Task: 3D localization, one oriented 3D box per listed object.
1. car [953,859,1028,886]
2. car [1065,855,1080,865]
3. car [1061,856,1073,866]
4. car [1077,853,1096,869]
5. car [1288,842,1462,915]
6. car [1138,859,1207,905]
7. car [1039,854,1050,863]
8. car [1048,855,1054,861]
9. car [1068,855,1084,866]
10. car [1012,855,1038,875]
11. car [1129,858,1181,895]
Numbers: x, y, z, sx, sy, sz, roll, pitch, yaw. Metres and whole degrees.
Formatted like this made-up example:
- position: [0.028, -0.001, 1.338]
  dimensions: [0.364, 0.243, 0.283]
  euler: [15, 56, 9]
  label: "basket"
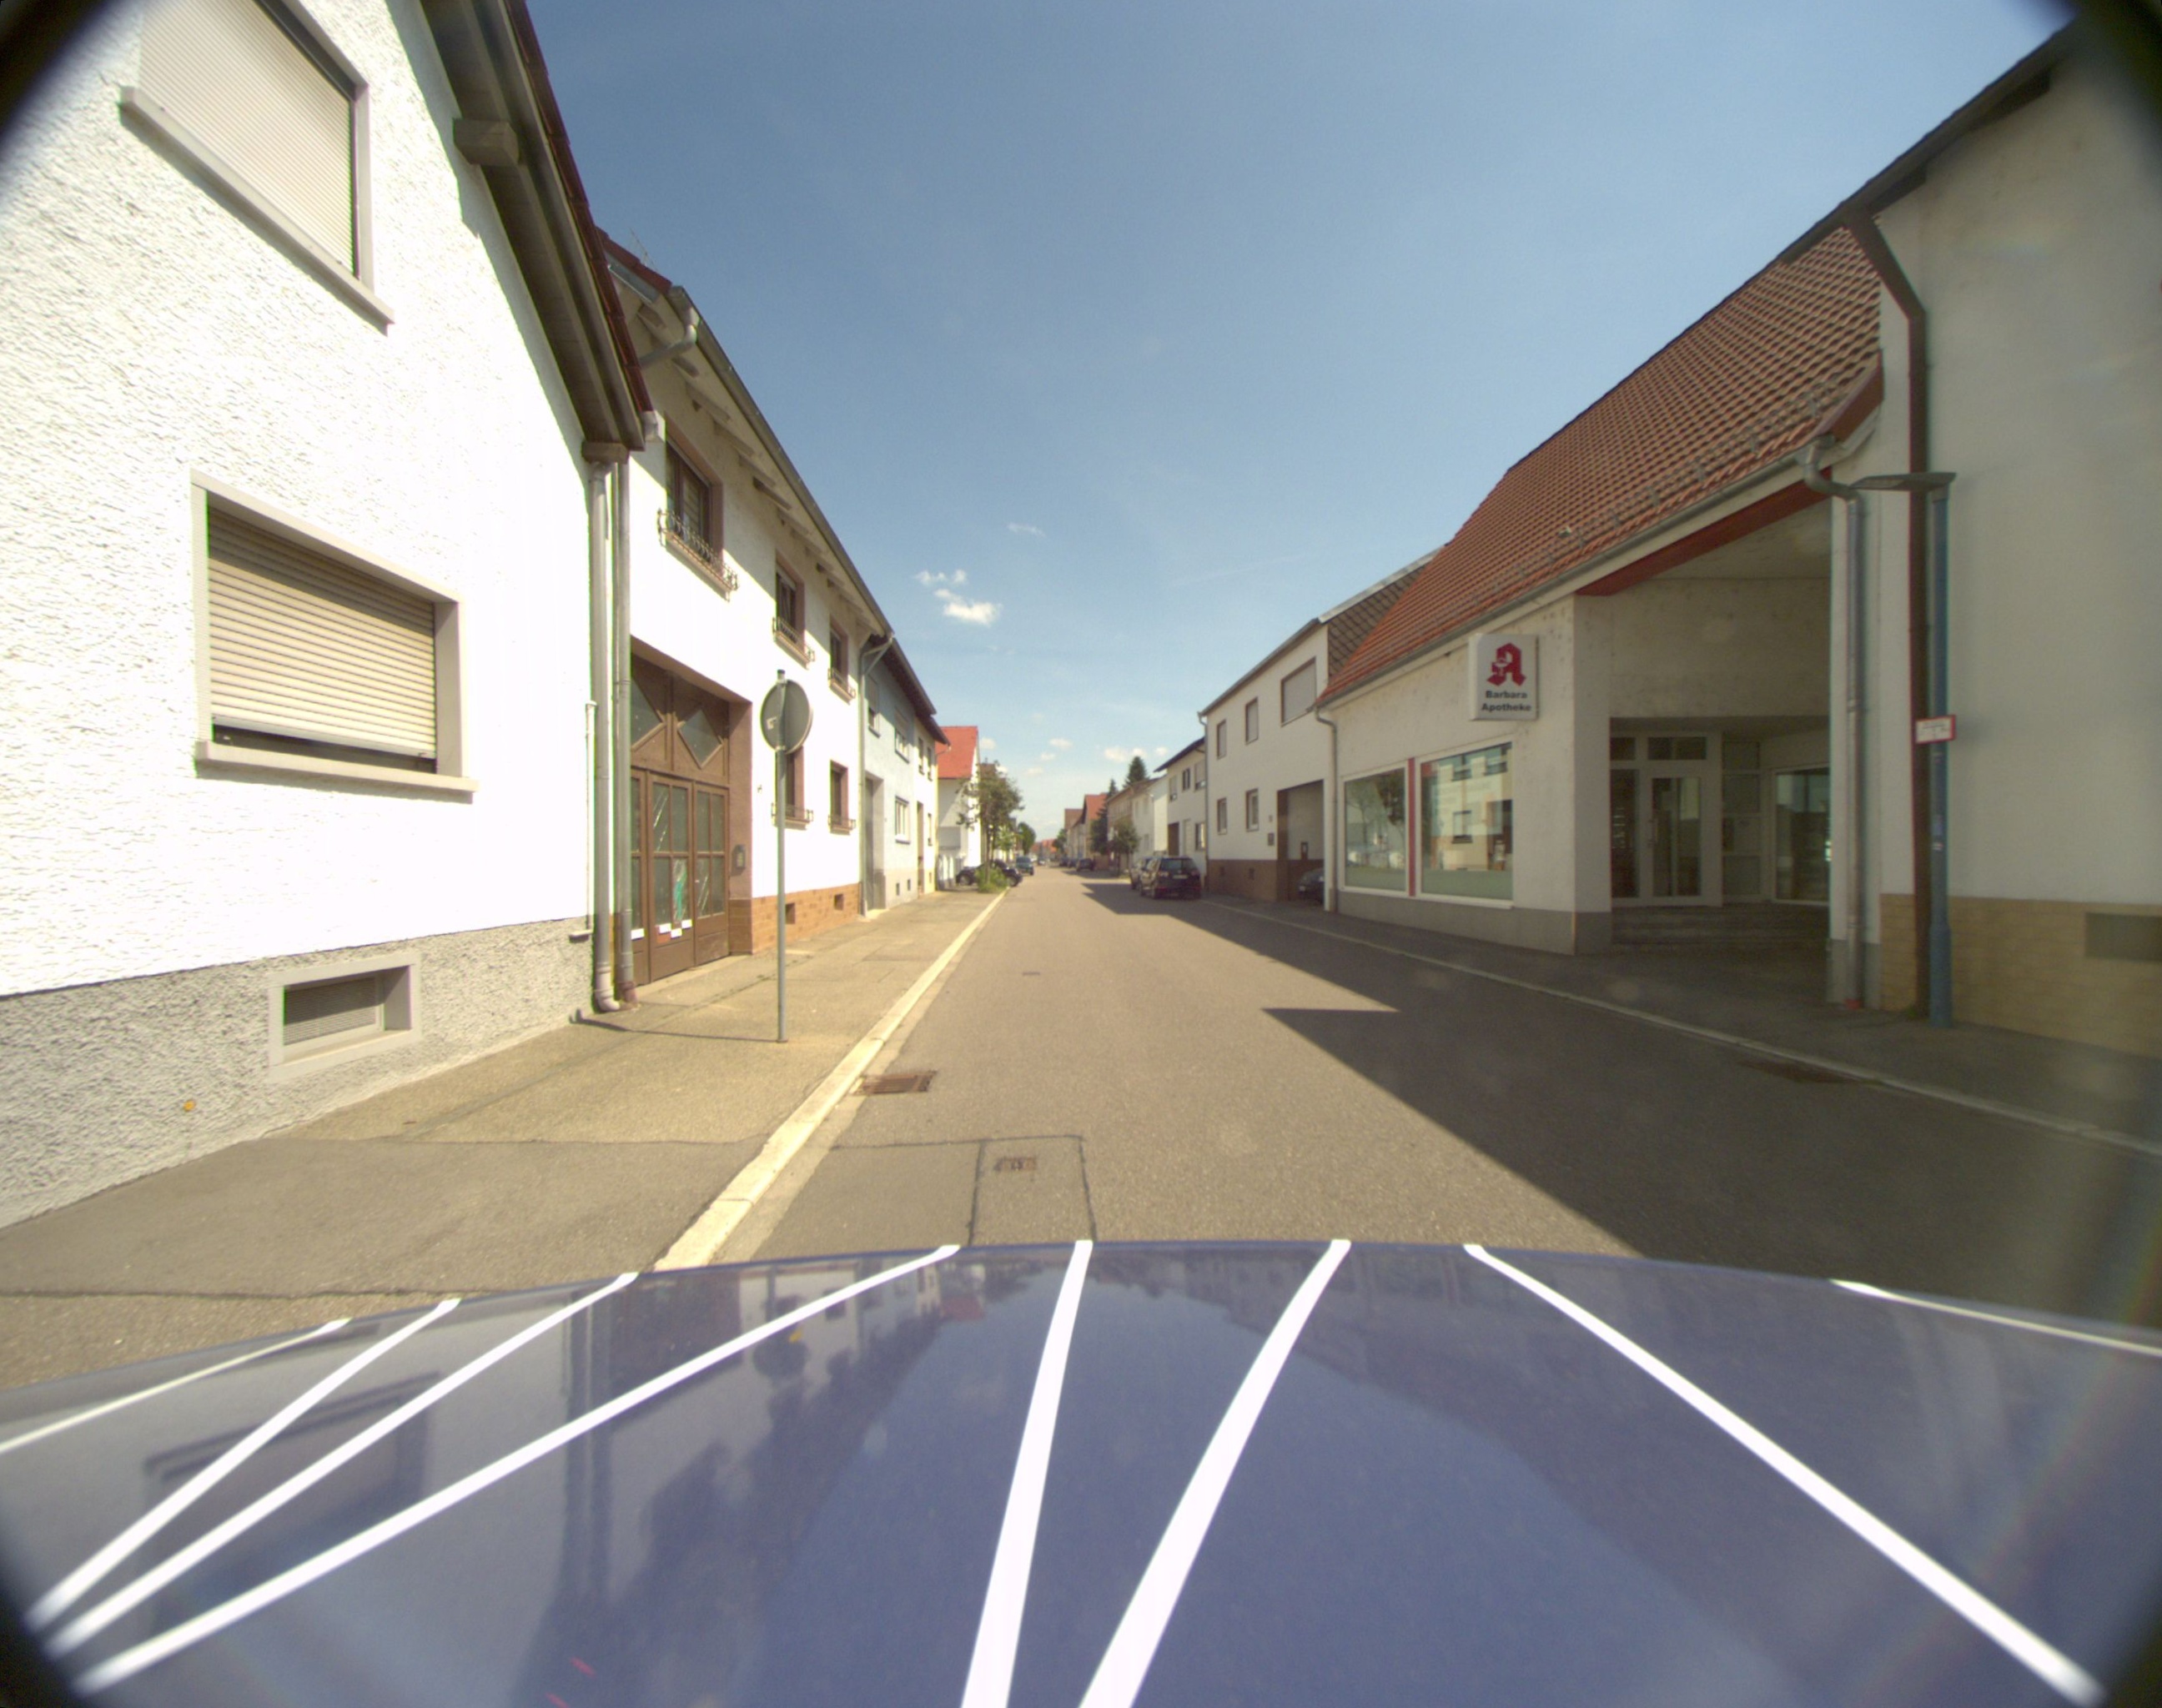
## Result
- position: [-4.905, 0.979, 41.600]
  dimensions: [3.815, 1.420, 1.728]
  euler: [-1, 0, 2]
  label: "car"
- position: [-1.393, 1.011, 122.210]
  dimensions: [1.999, 1.570, 3.998]
  euler: [-1, 0, -5]
  label: "car"
- position: [-2.387, 1.191, 129.410]
  dimensions: [1.999, 1.570, 3.999]
  euler: [-1, 0, -3]
  label: "car"
- position: [0.587, 0.772, 83.585]
  dimensions: [1.852, 1.688, 3.999]
  euler: [-1, 0, -3]
  label: "car"
- position: [7.967, 0.644, 20.814]
  dimensions: [3.998, 1.708, 1.814]
  euler: [-3, 0, -2]
  label: "car"
- position: [3.340, 0.987, 28.452]
  dimensions: [1.753, 1.557, 3.953]
  euler: [-1, 0, -5]
  label: "car"
- position: [-6.587, 0.764, 136.724]
  dimensions: [1.958, 1.521, 3.999]
  euler: [0, 0, -3]
  label: "car"
- position: [-9.572, 1.246, 242.670]
  dimensions: [1.904, 1.682, 3.999]
  euler: [-2, 0, -2]
  label: "car"
- position: [-0.695, 0.934, 105.694]
  dimensions: [1.855, 1.543, 3.998]
  euler: [-1, 0, -5]
  label: "car"
- position: [-4.868, 0.944, 66.477]
  dimensions: [1.999, 1.696, 3.999]
  euler: [0, 0, -2]
  label: "car"
- position: [3.401, 1.018, 35.563]
  dimensions: [1.759, 1.608, 4.119]
  euler: [-1, 0, -4]
  label: "car"
